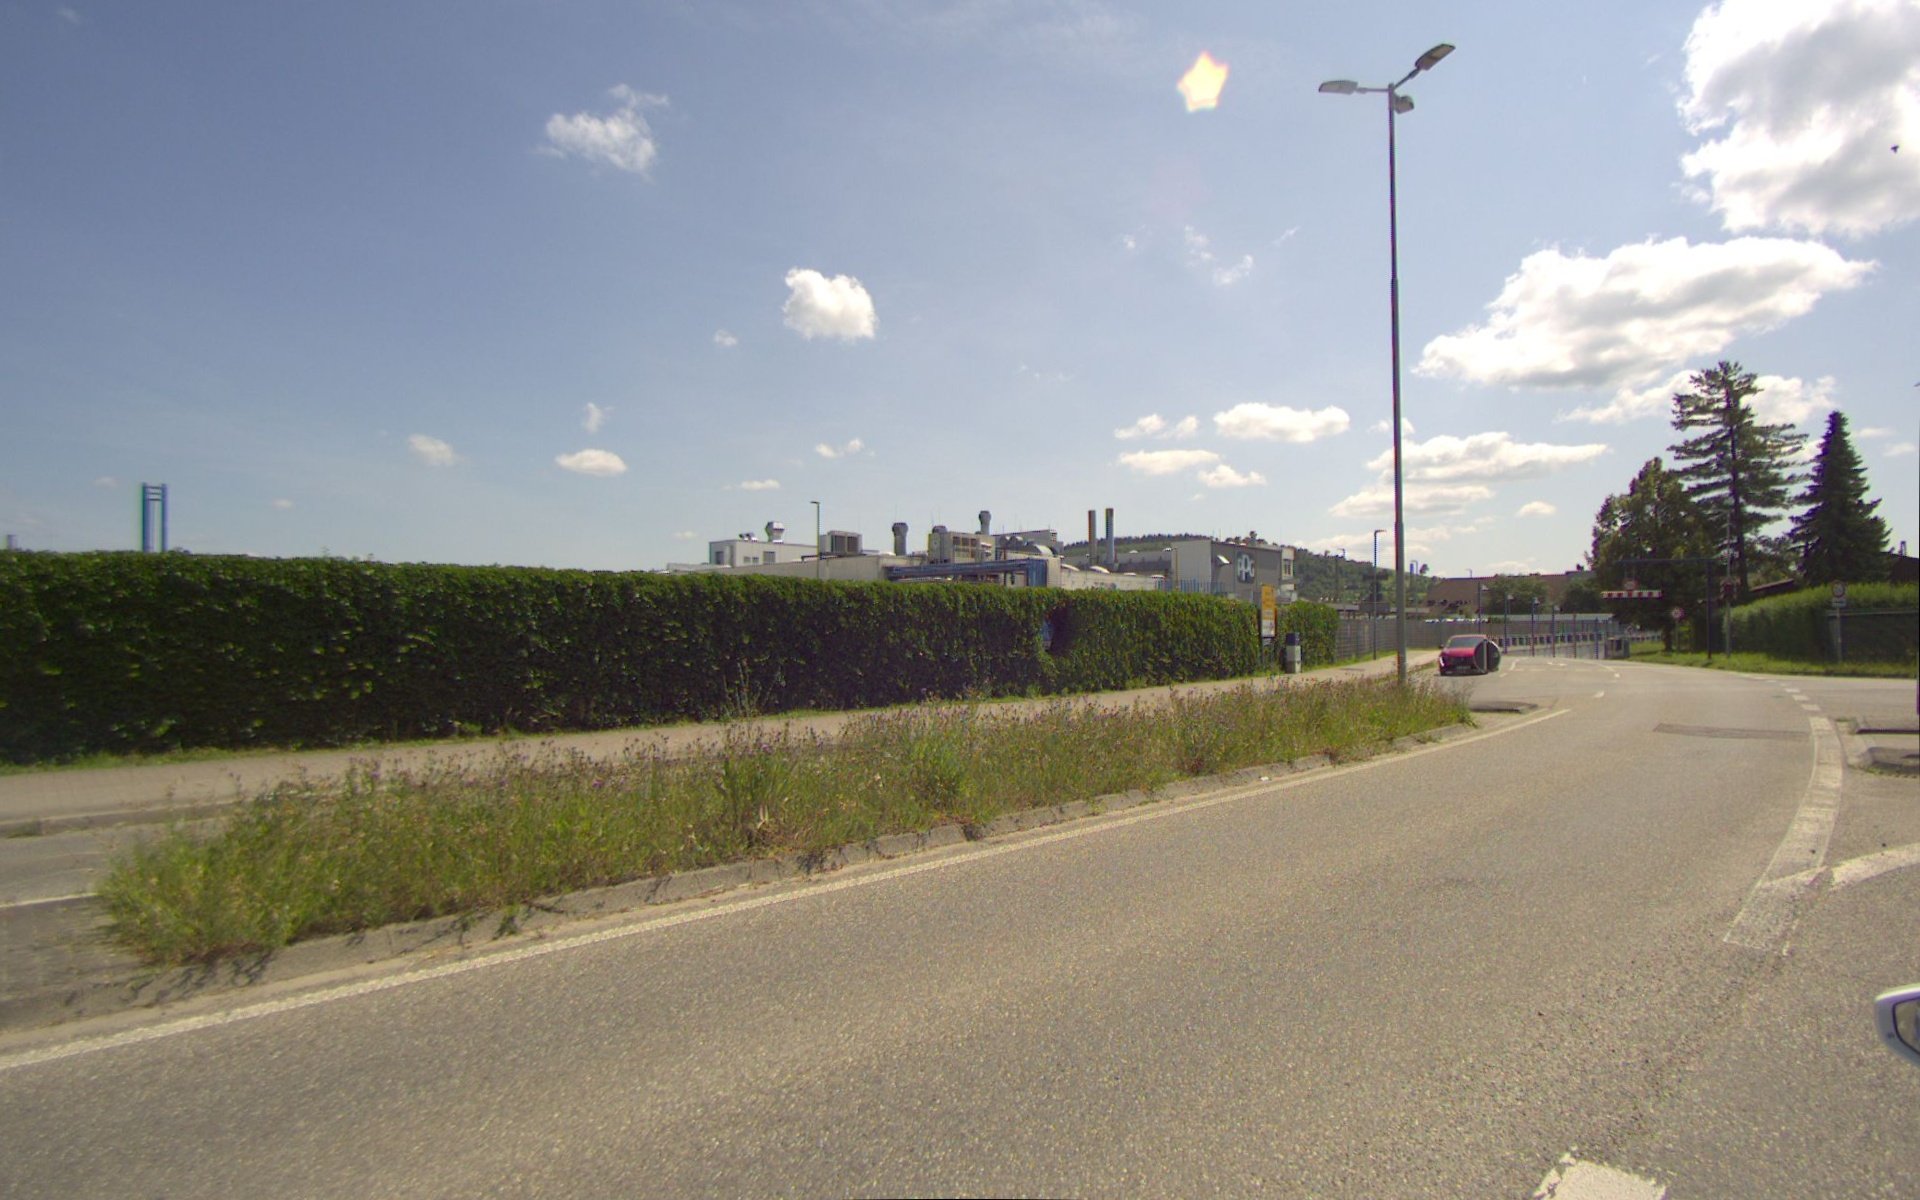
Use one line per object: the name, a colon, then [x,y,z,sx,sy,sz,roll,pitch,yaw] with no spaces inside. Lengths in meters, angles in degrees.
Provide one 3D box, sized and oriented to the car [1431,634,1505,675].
car: [19.570,2.072,38.598,1.856,1.483,4.372,-3,-3,36]
